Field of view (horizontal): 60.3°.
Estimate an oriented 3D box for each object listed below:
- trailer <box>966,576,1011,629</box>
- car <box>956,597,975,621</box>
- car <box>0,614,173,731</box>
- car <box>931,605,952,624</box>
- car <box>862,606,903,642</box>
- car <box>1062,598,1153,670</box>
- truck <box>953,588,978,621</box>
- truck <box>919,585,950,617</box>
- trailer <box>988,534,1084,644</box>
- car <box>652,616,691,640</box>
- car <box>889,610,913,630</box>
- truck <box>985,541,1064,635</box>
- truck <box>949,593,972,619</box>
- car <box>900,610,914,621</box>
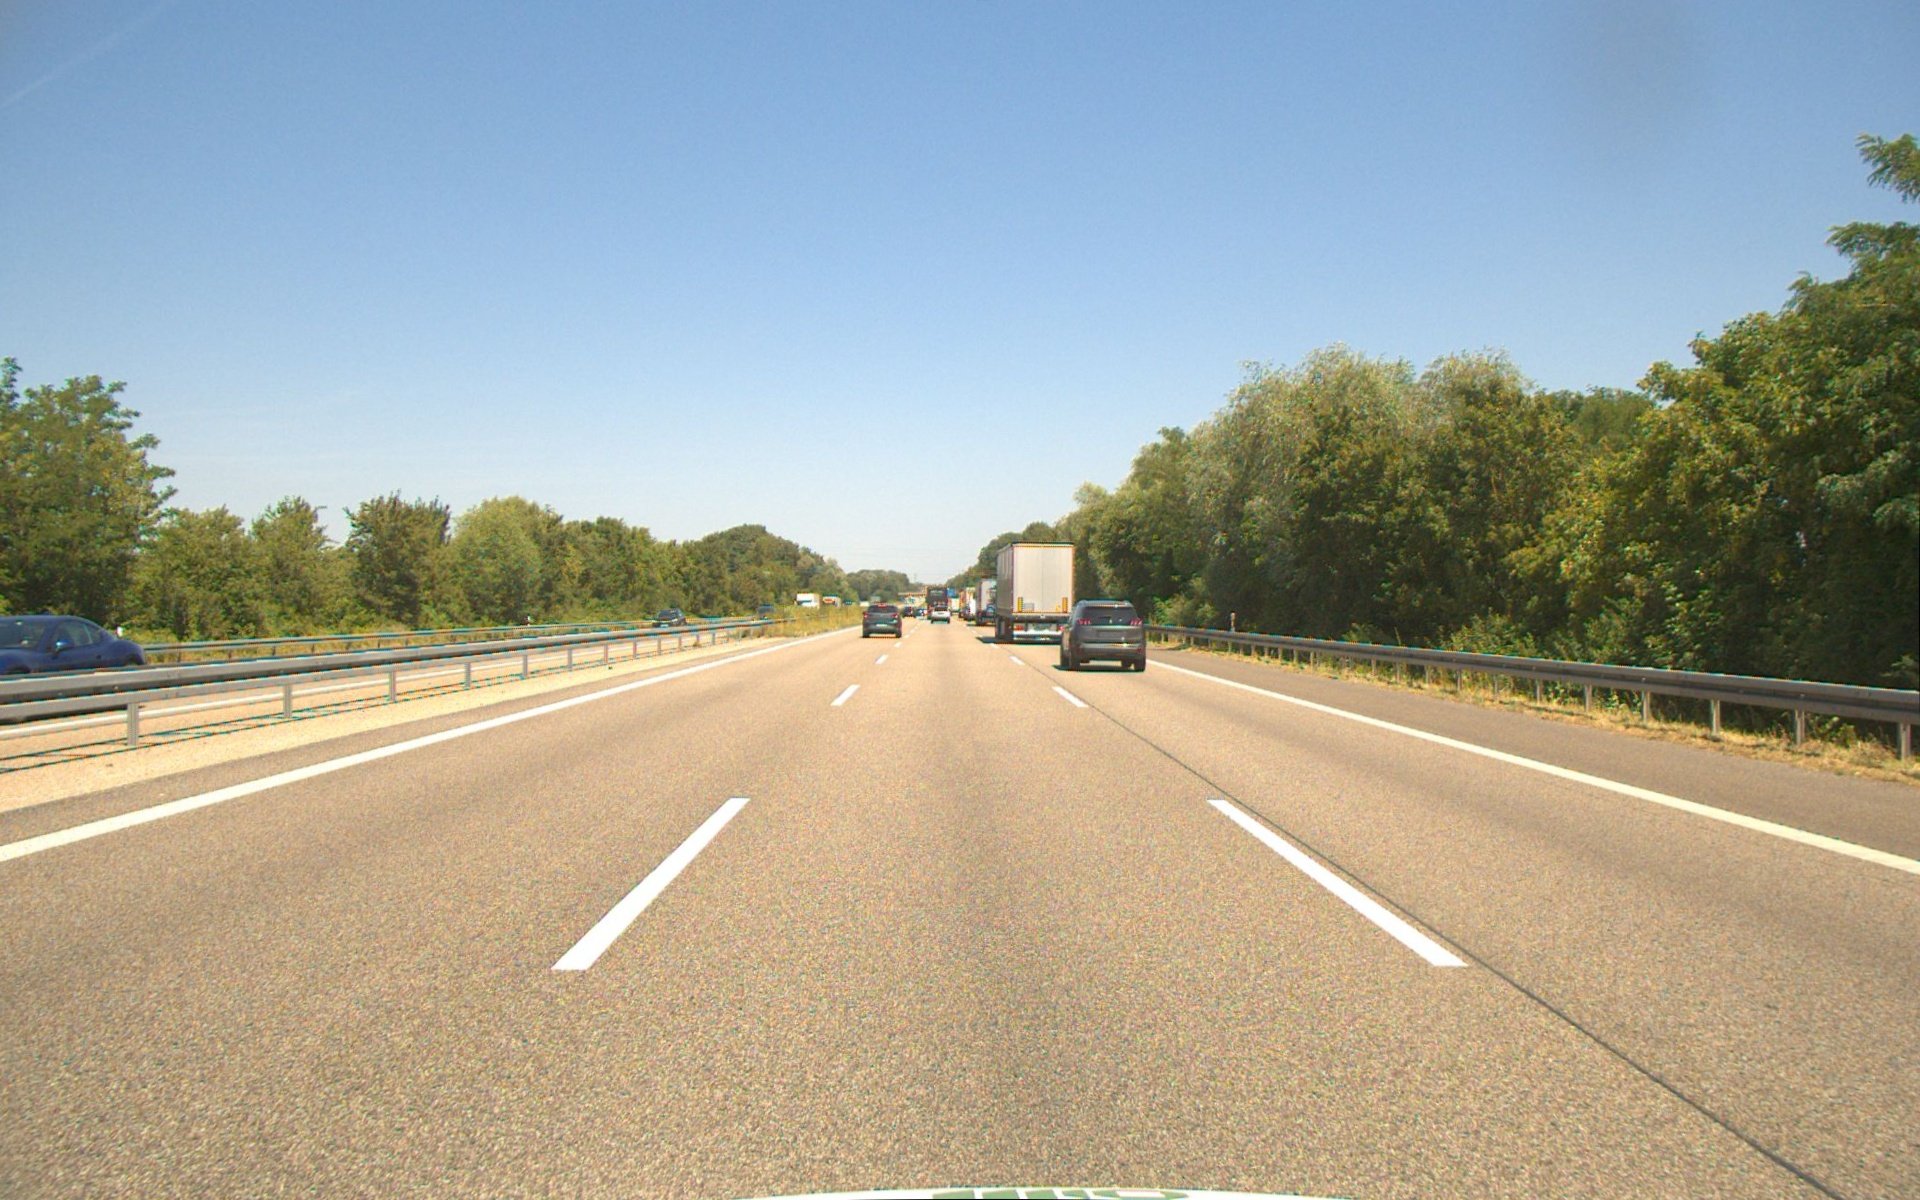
[{"bbox_3d":[2.193,0.120,131.603,3.059,3.995,9.933,1,0,-2],"label":"trailer"},{"bbox_3d":[0.599,0.934,174.107,1.869,2.467,4.285,1,0,-1],"label":"car"},{"bbox_3d":[-12.678,0.943,22.396,1.812,1.420,4.741,-2,0,-1],"label":"car"},{"bbox_3d":[-1.720,1.326,150.926,1.862,1.557,4.083,1,1,-1],"label":"car"},{"bbox_3d":[-3.590,1.087,77.034,1.723,1.557,4.285,1,1,-1],"label":"car"},{"bbox_3d":[3.504,0.780,40.031,1.807,1.657,4.134,0,0,0],"label":"car"},{"bbox_3d":[0.675,0.513,195.681,2.735,3.791,7.108,1,0,0],"label":"truck"},{"bbox_3d":[-3.092,0.069,203.952,3.592,3.791,7.108,1,0,0],"label":"truck"},{"bbox_3d":[3.124,-0.397,71.834,3.364,4.254,13.630,1,0,0],"label":"trailer"},{"bbox_3d":[-18.735,1.790,107.590,1.825,1.426,4.530,-2,0,-1],"label":"car"},{"bbox_3d":[-4.867,1.627,137.381,1.862,1.557,4.083,1,1,-1],"label":"car"},{"bbox_3d":[3.029,-0.489,79.472,3.394,4.250,6.842,1,-1,-1],"label":"truck"},{"bbox_3d":[0.097,0.822,251.768,3.417,3.791,7.108,1,0,0],"label":"truck"},{"bbox_3d":[-7.668,2.274,240.323,1.869,1.557,4.285,1,1,-1],"label":"car"}]
